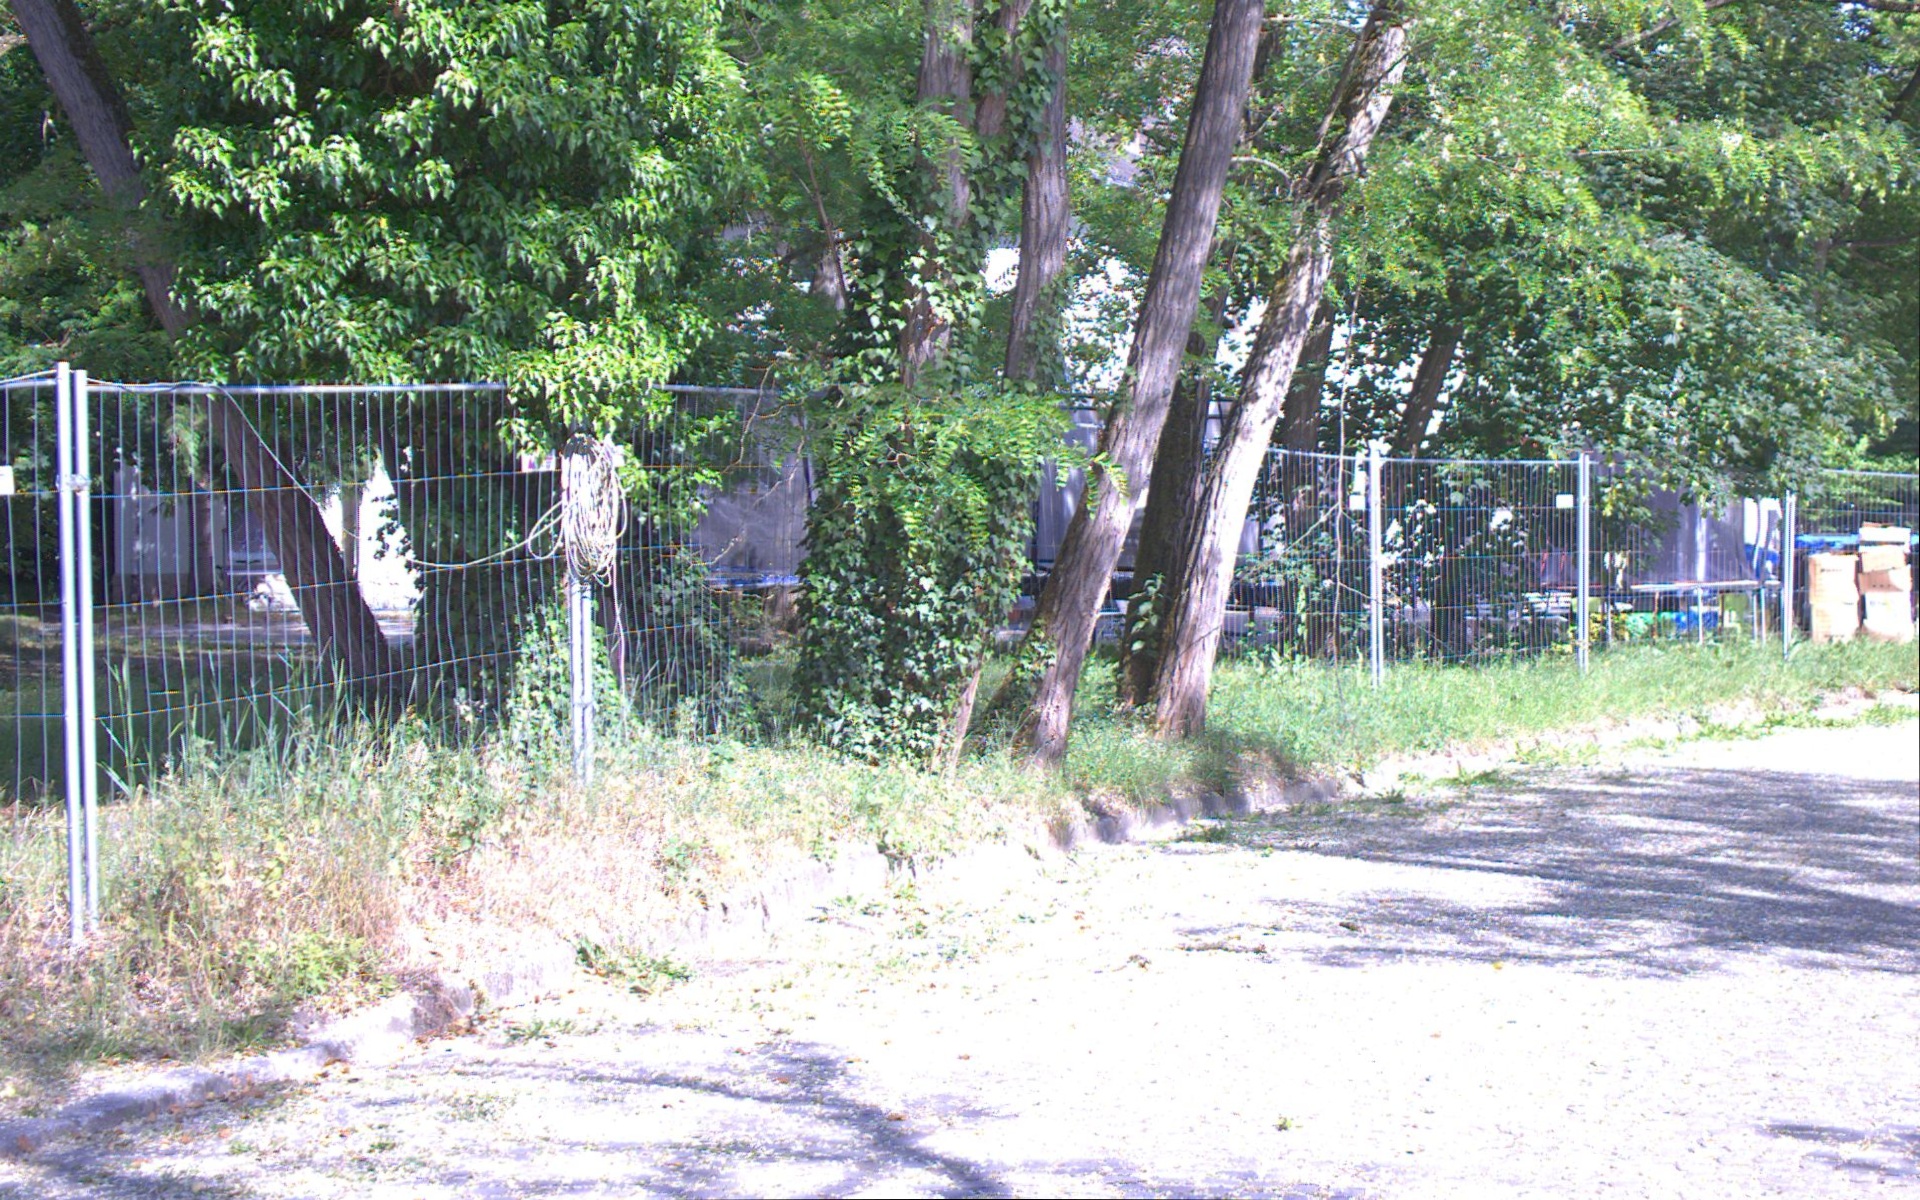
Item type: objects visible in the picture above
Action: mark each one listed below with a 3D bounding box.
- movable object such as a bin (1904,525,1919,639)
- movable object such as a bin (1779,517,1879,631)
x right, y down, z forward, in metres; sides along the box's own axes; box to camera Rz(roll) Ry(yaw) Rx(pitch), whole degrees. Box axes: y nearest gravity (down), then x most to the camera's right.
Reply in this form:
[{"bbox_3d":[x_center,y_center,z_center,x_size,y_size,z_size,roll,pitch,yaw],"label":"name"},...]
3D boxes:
[{"bbox_3d":[12.621,-0.238,43.421,1.288,1.421,1.031,0,1,18],"label":"movable object such as a bin"},{"bbox_3d":[11.085,-0.332,43.842,1.085,1.433,1.055,0,1,22],"label":"movable object such as a bin"}]
